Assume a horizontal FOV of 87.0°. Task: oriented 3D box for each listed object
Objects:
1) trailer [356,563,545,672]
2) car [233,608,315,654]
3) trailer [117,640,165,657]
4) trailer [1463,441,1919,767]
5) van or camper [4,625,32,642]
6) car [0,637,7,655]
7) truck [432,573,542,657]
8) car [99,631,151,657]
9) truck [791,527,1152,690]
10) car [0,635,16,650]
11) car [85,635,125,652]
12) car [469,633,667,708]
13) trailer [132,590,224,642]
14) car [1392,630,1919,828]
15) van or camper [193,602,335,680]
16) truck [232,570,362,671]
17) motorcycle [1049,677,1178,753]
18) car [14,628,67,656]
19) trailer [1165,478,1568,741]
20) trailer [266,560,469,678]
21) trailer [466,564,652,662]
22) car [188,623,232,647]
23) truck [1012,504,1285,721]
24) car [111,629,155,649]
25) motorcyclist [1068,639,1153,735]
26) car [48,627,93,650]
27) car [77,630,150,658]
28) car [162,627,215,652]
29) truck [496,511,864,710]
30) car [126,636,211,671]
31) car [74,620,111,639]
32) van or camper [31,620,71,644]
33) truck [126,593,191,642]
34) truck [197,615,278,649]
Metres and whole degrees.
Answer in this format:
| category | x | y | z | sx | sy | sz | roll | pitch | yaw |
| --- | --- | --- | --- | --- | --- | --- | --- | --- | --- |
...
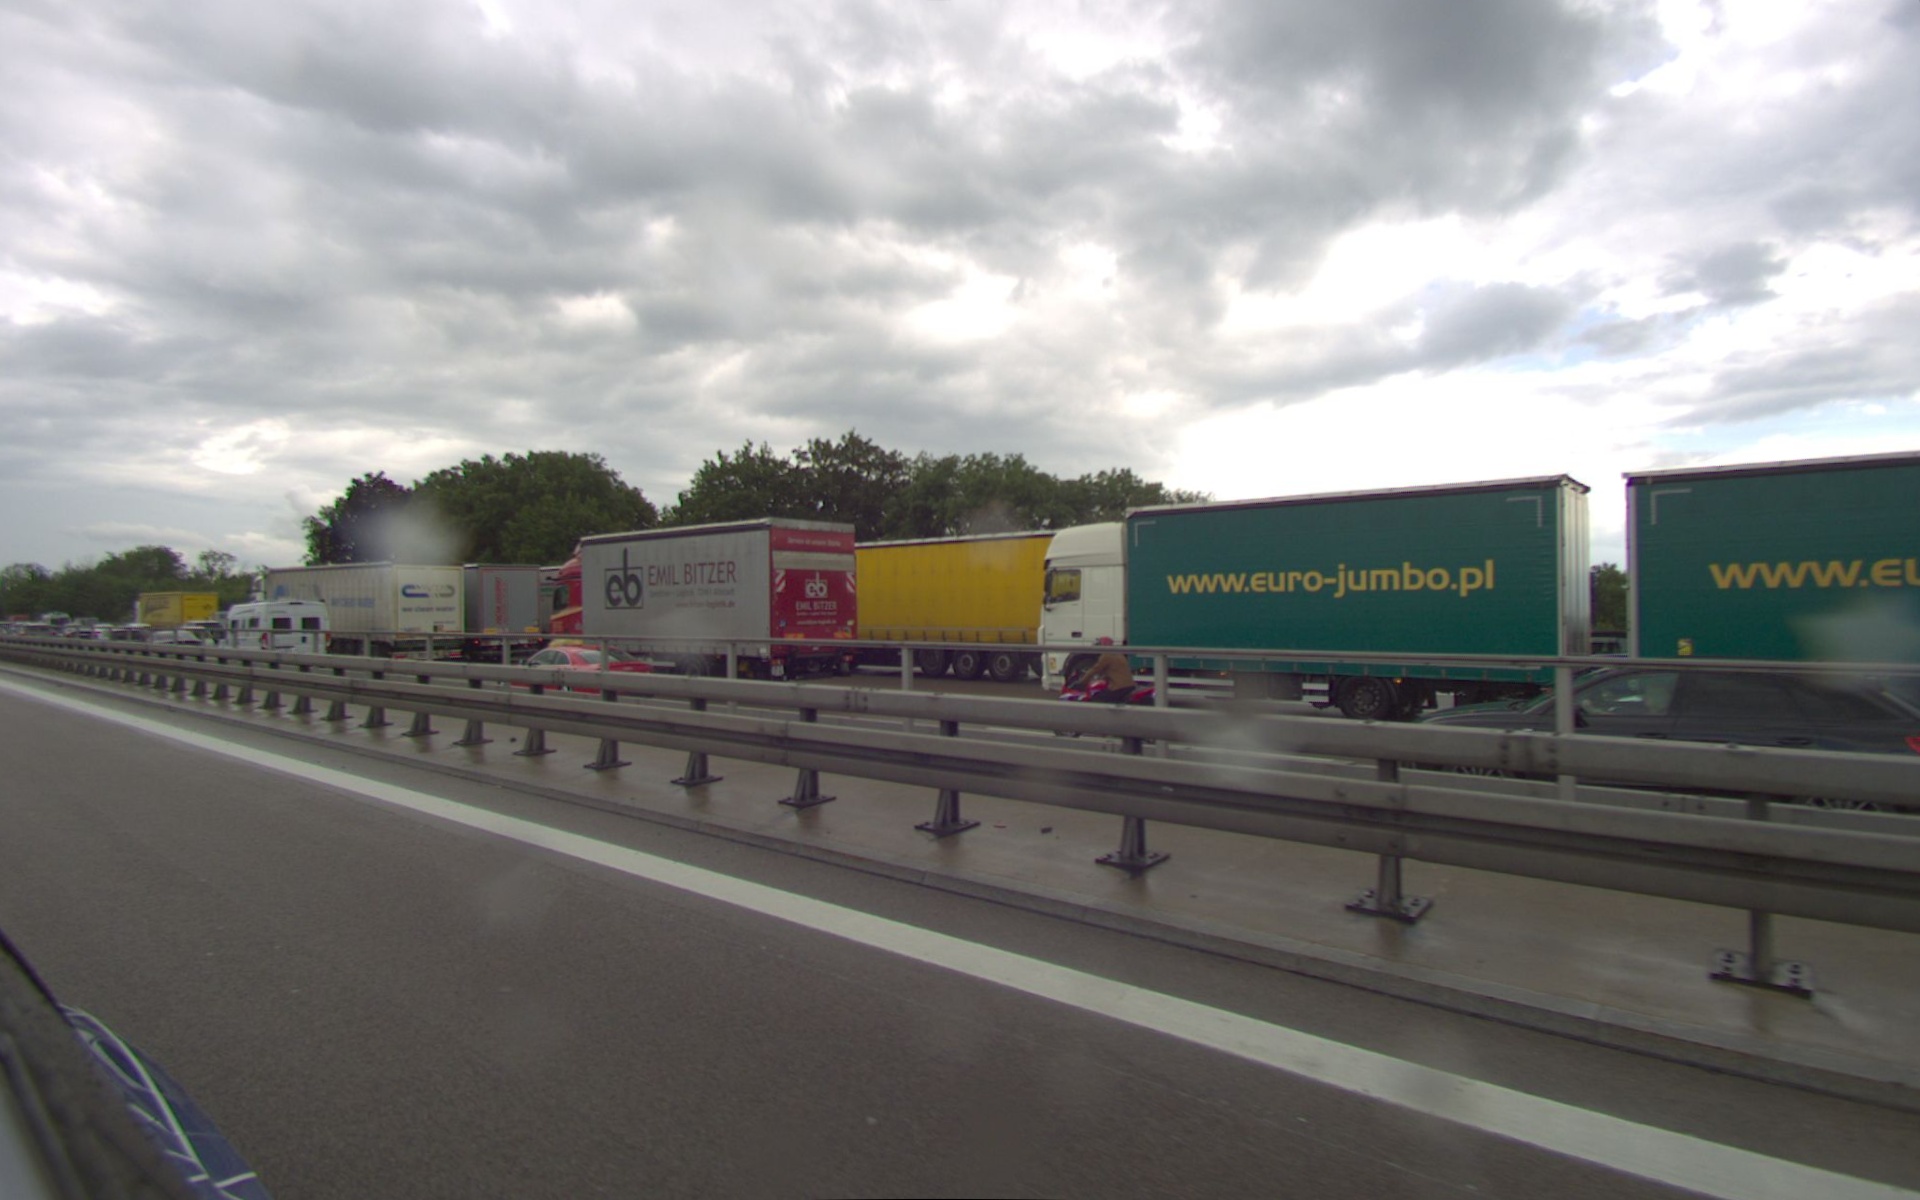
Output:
| category | x | y | z | sx | sy | sz | roll | pitch | yaw |
| --- | --- | --- | --- | --- | --- | --- | --- | --- | --- |
| trailer | -22.705 | 0.816 | 44.512 | 13.023 | 4.177 | 2.850 | -1 | -2 | 42 |
| car | -39.487 | 1.769 | 58.189 | 6.767 | 2.524 | 2.134 | -1 | -2 | 40 |
| trailer | -52.169 | 3.087 | 64.481 | 3.337 | 1.045 | 1.708 | -1 | -2 | 39 |
| trailer | 13.348 | 0.034 | 13.406 | 11.596 | 4.092 | 2.789 | -1 | -1 | 41 |
| van or camper | -129.894 | 4.618 | 139.528 | 6.227 | 2.322 | 1.921 | -1 | -2 | 39 |
| car | -76.559 | 3.620 | 79.481 | 4.814 | 1.393 | 1.745 | -1 | -2 | 38 |
| truck | -24.278 | 0.786 | 51.823 | 6.574 | 4.024 | 2.730 | -1 | -2 | 41 |
| car | -55.295 | 2.882 | 66.980 | 4.683 | 1.589 | 1.731 | -1 | -2 | 38 |
| truck | -0.173 | 0.335 | 29.802 | 11.687 | 4.012 | 2.692 | -2 | -2 | 41 |
| car | -96.564 | 4.227 | 101.661 | 4.469 | 1.436 | 1.799 | -1 | -2 | 37 |
| car | -73.081 | 3.691 | 86.493 | 4.046 | 1.449 | 1.805 | -1 | -2 | 37 |
| car | -8.706 | 1.461 | 22.251 | 5.007 | 1.429 | 1.903 | -1 | -2 | 40 |
| trailer | -67.853 | 1.443 | 87.607 | 14.497 | 4.260 | 3.214 | -1 | -2 | 40 |
| car | 6.426 | 1.024 | 9.511 | 3.998 | 1.463 | 1.812 | -1 | -2 | 41 |
| van or camper | -24.650 | 1.401 | 35.702 | 7.296 | 2.515 | 2.255 | -1 | -2 | 40 |
| truck | -30.158 | 0.936 | 45.889 | 7.550 | 4.212 | 2.851 | -1 | -2 | 40 |
| motorcycle | 2.274 | 1.686 | 15.113 | 1.788 | 0.973 | 0.726 | -2 | -2 | 41 |
| car | -61.876 | 2.797 | 68.061 | 5.327 | 1.780 | 1.894 | -1 | -2 | 40 |
| trailer | 7.316 | 0.191 | 18.729 | 6.310 | 4.060 | 2.806 | -1 | -1 | 41 |
| trailer | -24.287 | 0.800 | 40.976 | 13.017 | 4.177 | 2.851 | -1 | -2 | 40 |
| trailer | -18.865 | 0.665 | 46.955 | 12.301 | 4.024 | 2.729 | -1 | -2 | 41 |
| car | -50.855 | 2.347 | 68.616 | 3.997 | 1.608 | 1.518 | -1 | -2 | 40 |
| truck | 3.958 | 0.270 | 21.635 | 4.960 | 4.060 | 2.816 | -1 | -1 | 41 |
| car | -63.989 | 2.965 | 78.306 | 4.412 | 1.490 | 1.731 | -1 | -2 | 38 |
| motorcyclist | 2.250 | 1.271 | 15.130 | 1.029 | 1.351 | 0.720 | -2 | -2 | 41 |
| car | -65.476 | 2.808 | 74.468 | 4.412 | 1.589 | 1.731 | -1 | -2 | 38 |
| car | -44.397 | 2.255 | 53.060 | 5.454 | 1.397 | 1.994 | -1 | -2 | 40 |
| car | -44.249 | 2.242 | 58.015 | 4.097 | 1.397 | 1.585 | -1 | -2 | 40 |
| truck | -7.888 | 0.354 | 26.584 | 12.516 | 4.180 | 2.953 | -1 | -2 | 41 |
| car | -34.979 | 2.312 | 44.685 | 5.160 | 1.429 | 1.903 | -1 | -2 | 40 |
| car | -93.450 | 3.198 | 109.043 | 5.404 | 2.029 | 1.975 | -1 | -2 | 38 |
| van or camper | -107.671 | 3.748 | 119.833 | 7.220 | 2.786 | 2.181 | -2 | -2 | 38 |
| truck | -72.536 | 1.591 | 91.558 | 6.876 | 4.282 | 3.215 | -1 | -2 | 40 |
| truck | -53.740 | 2.361 | 75.193 | 9.267 | 2.389 | 2.653 | -1 | -2 | 40 |
